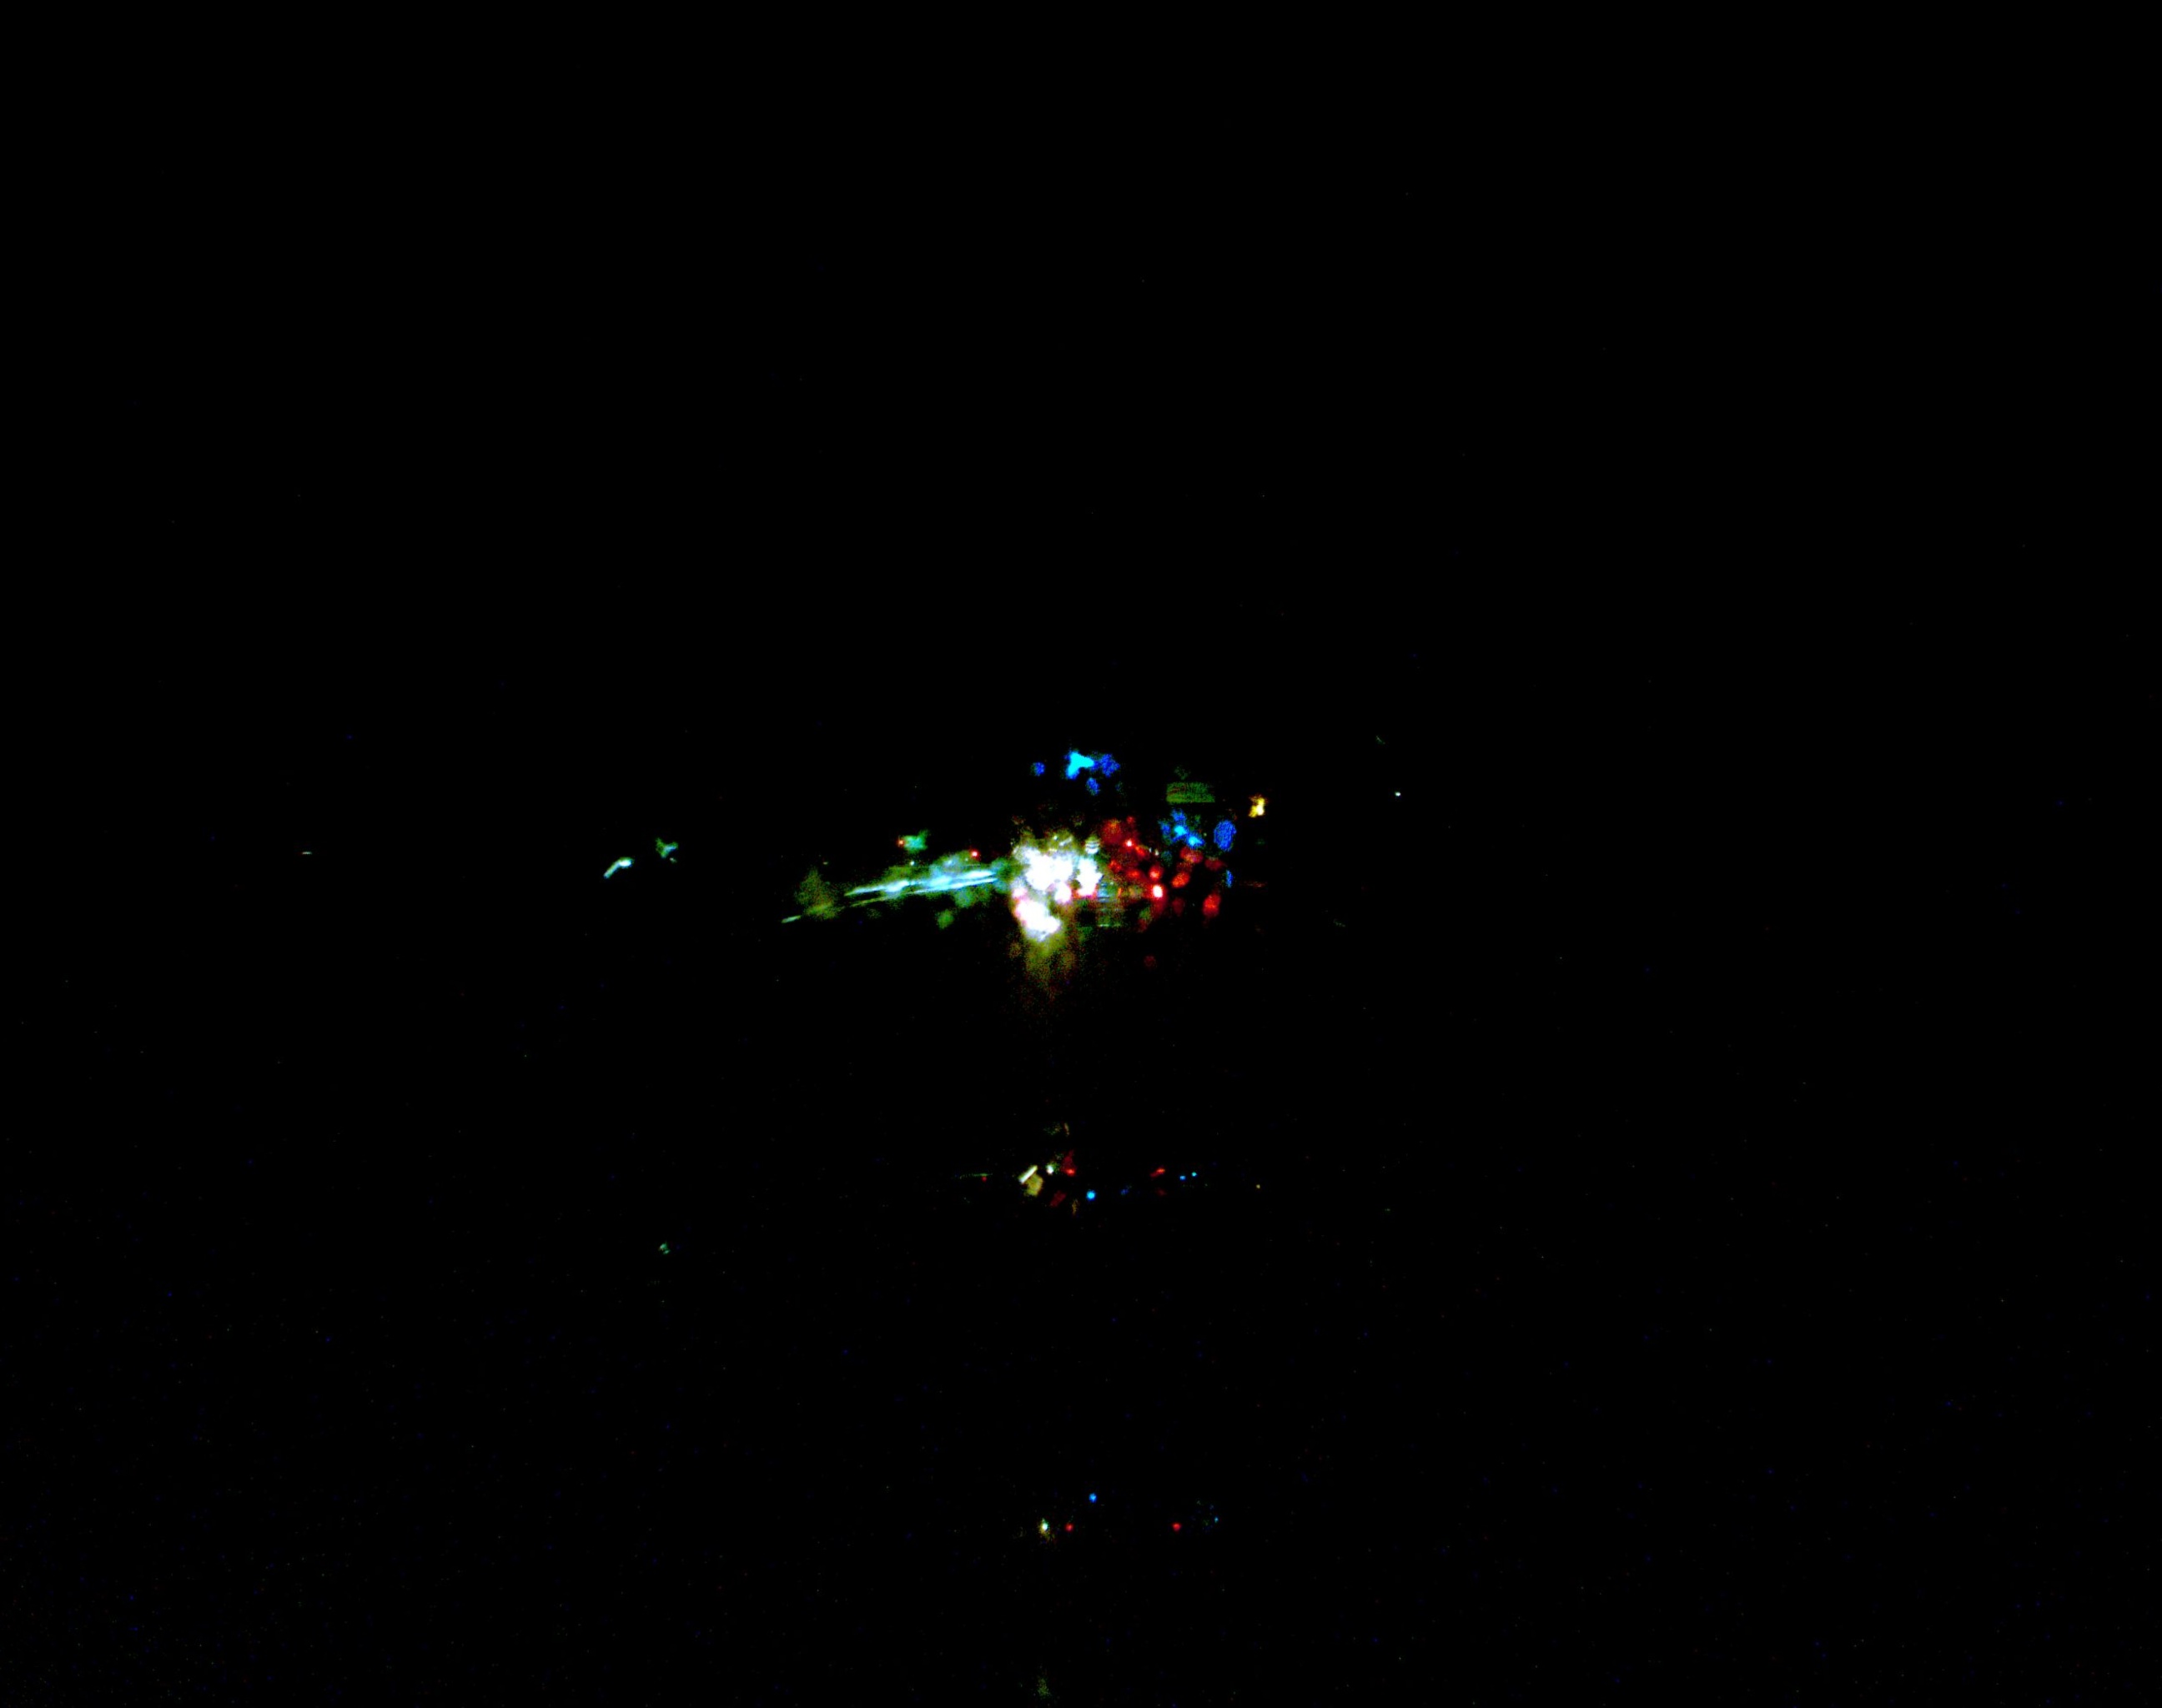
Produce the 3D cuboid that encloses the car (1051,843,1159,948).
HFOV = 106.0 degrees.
[{"bbox_3d":[0.413,0.701,15.538,1.769,1.712,3.999,-1,0,0],"label":"car"}]

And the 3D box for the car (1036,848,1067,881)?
[{"bbox_3d":[-2.014,0.754,54.887,1.989,2.014,3.995,-2,-2,-3],"label":"car"}]
